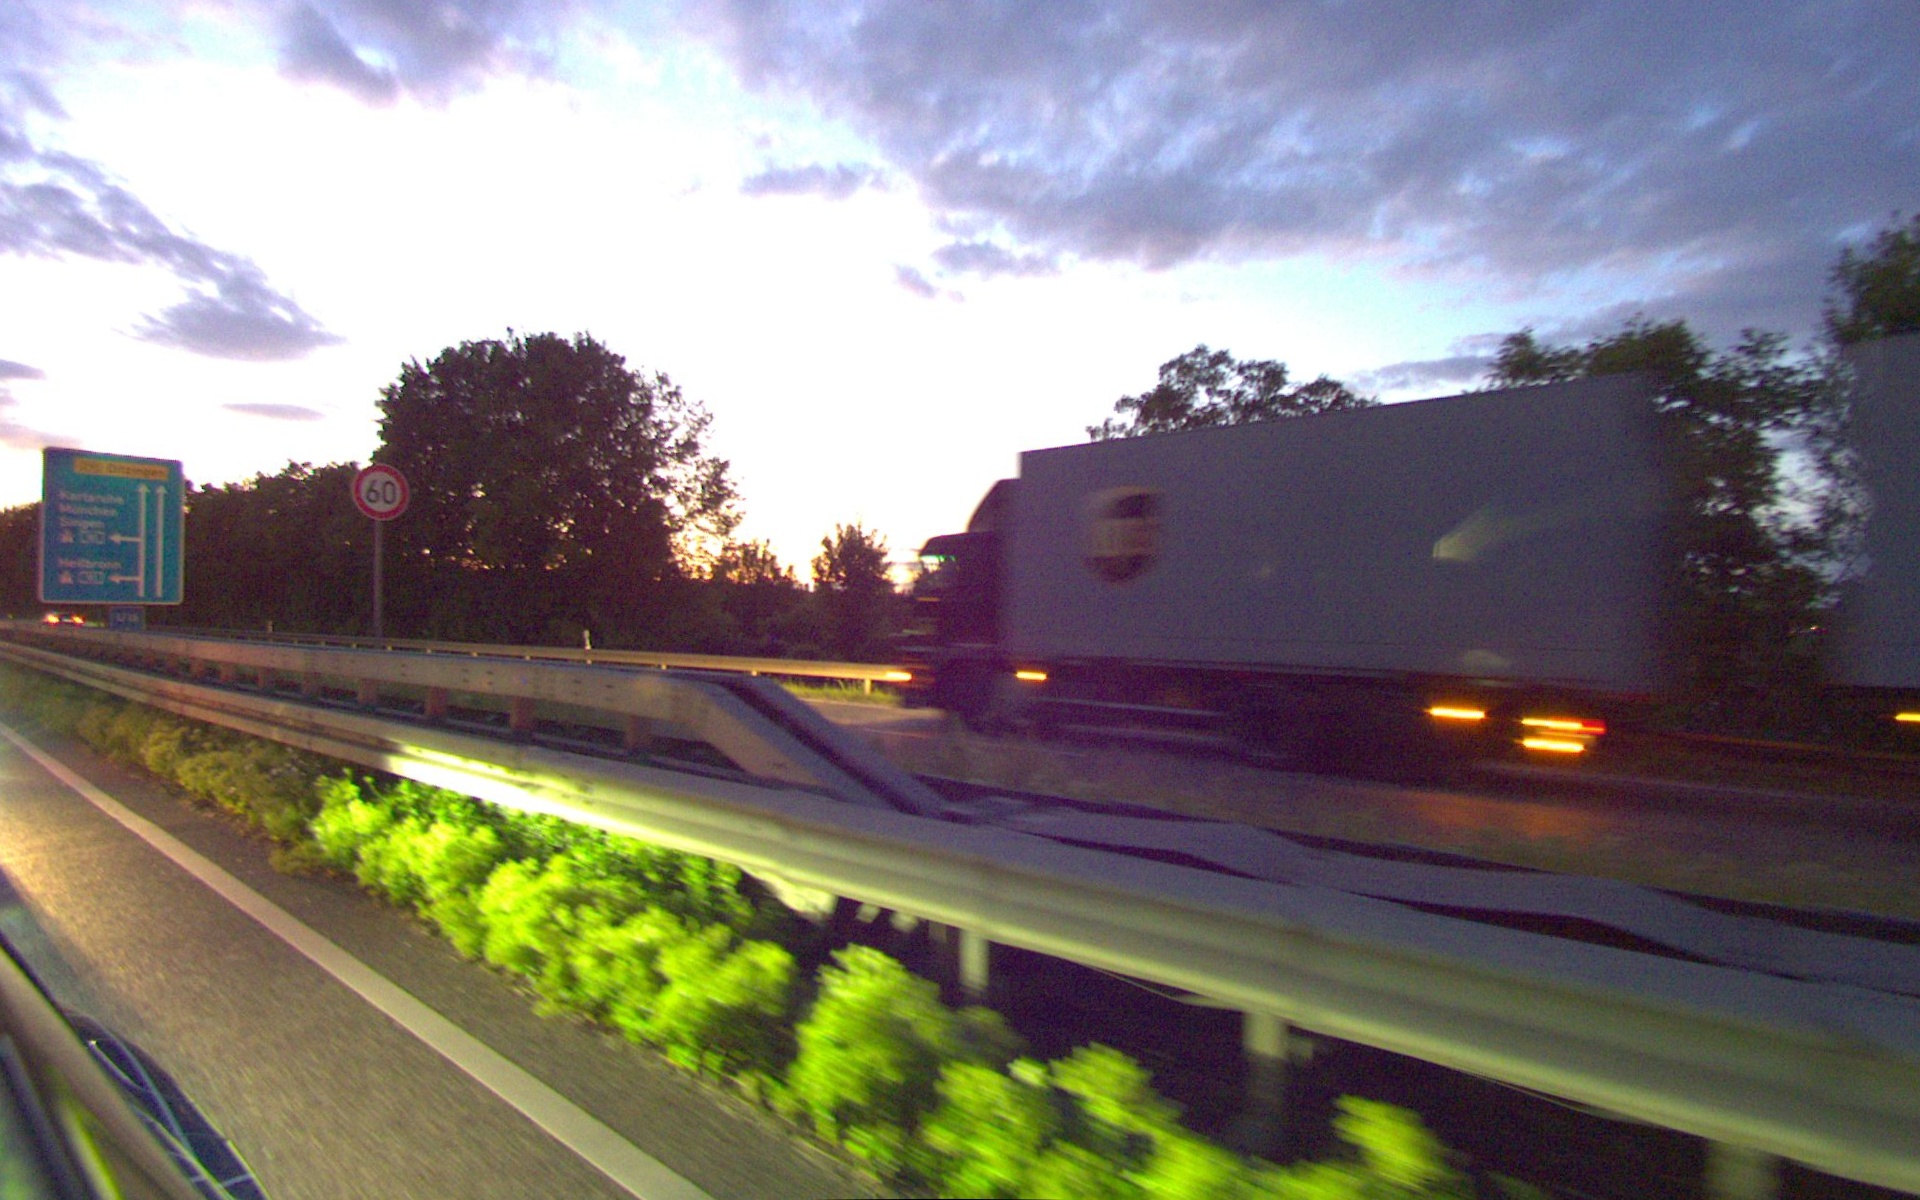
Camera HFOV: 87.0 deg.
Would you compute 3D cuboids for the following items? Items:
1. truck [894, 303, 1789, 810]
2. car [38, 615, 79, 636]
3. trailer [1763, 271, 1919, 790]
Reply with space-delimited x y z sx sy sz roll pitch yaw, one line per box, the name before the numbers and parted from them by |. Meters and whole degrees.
truck | 3.721 -0.349 12.789 10.345 4.148 2.696 0 -1 43
car | -66.376 1.883 74.523 4.588 1.516 1.612 -1 -2 40
trailer | 10.403 -0.561 5.651 2.542 3.973 8.898 2 -2 -36
